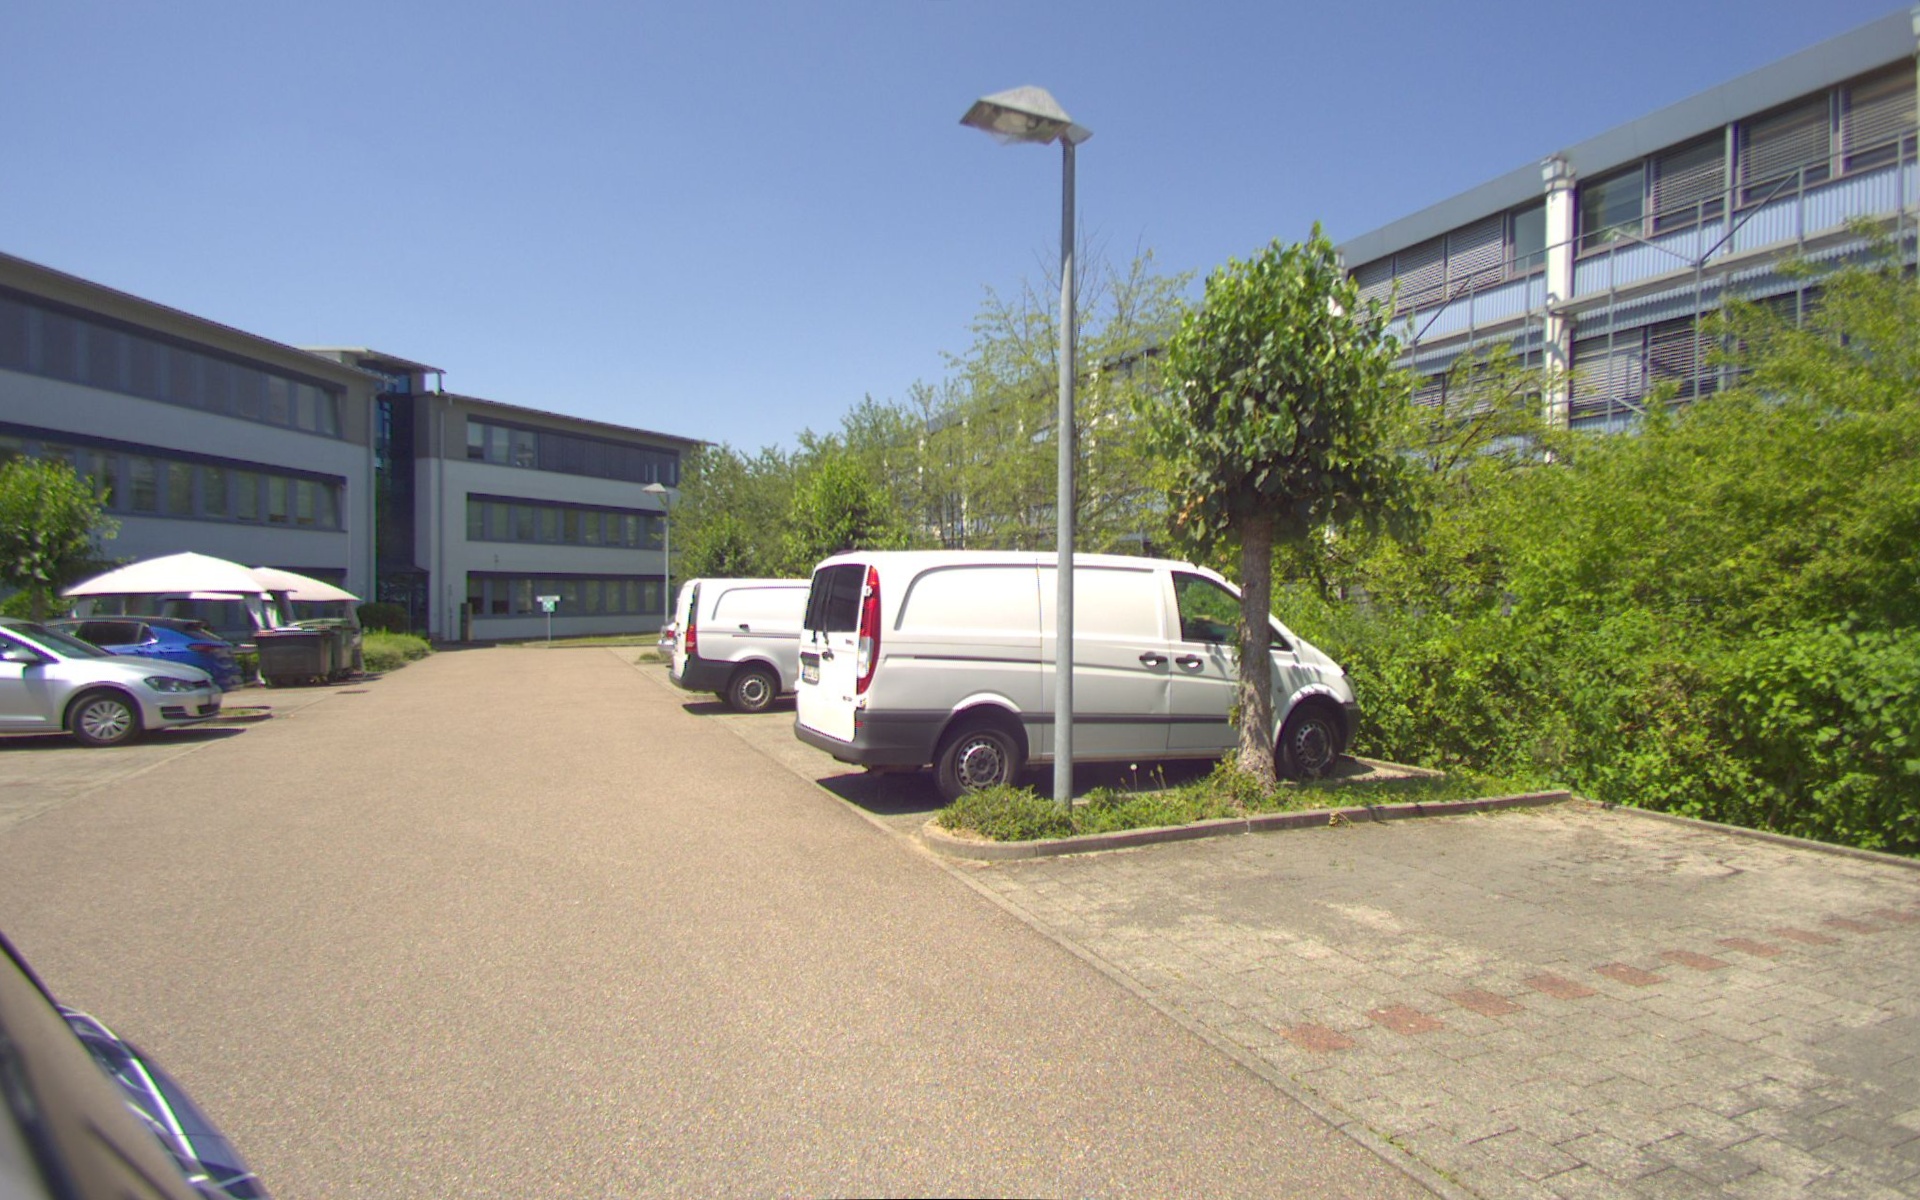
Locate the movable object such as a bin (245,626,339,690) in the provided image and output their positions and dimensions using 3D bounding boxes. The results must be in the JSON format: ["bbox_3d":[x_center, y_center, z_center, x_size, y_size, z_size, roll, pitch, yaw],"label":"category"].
[{"bbox_3d":[-13.248,1.134,20.124,1.341,1.198,1.000,0,-1,-18],"label":"movable object such as a bin"}]

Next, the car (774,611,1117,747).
[{"bbox_3d":[-0.173,0.849,12.124,3.784,1.404,1.582,0,-1,-24],"label":"car"}]

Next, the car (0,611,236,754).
[{"bbox_3d":[-10.999,0.873,11.294,4.442,1.508,1.835,1,-1,-24],"label":"car"}]

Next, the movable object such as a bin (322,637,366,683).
[{"bbox_3d":[-13.498,1.309,22.182,0.679,0.956,0.724,0,-1,-18],"label":"movable object such as a bin"}]

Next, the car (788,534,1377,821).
[{"bbox_3d":[1.063,0.528,8.568,4.653,1.920,1.835,0,-1,-24],"label":"car"}]

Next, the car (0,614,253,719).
[{"bbox_3d":[-12.630,0.921,14.554,3.760,1.402,1.657,2,-1,-24],"label":"car"}]

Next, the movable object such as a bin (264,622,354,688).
[{"bbox_3d":[-13.571,1.123,21.146,1.341,1.306,1.046,0,-1,-18],"label":"movable object such as a bin"}]

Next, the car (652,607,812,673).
[{"bbox_3d":[-5.773,0.976,25.658,3.700,1.569,1.666,0,-1,-24],"label":"car"}]

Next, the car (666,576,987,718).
[{"bbox_3d":[-1.996,0.637,15.212,4.442,1.896,1.835,0,-1,-24],"label":"car"}]
